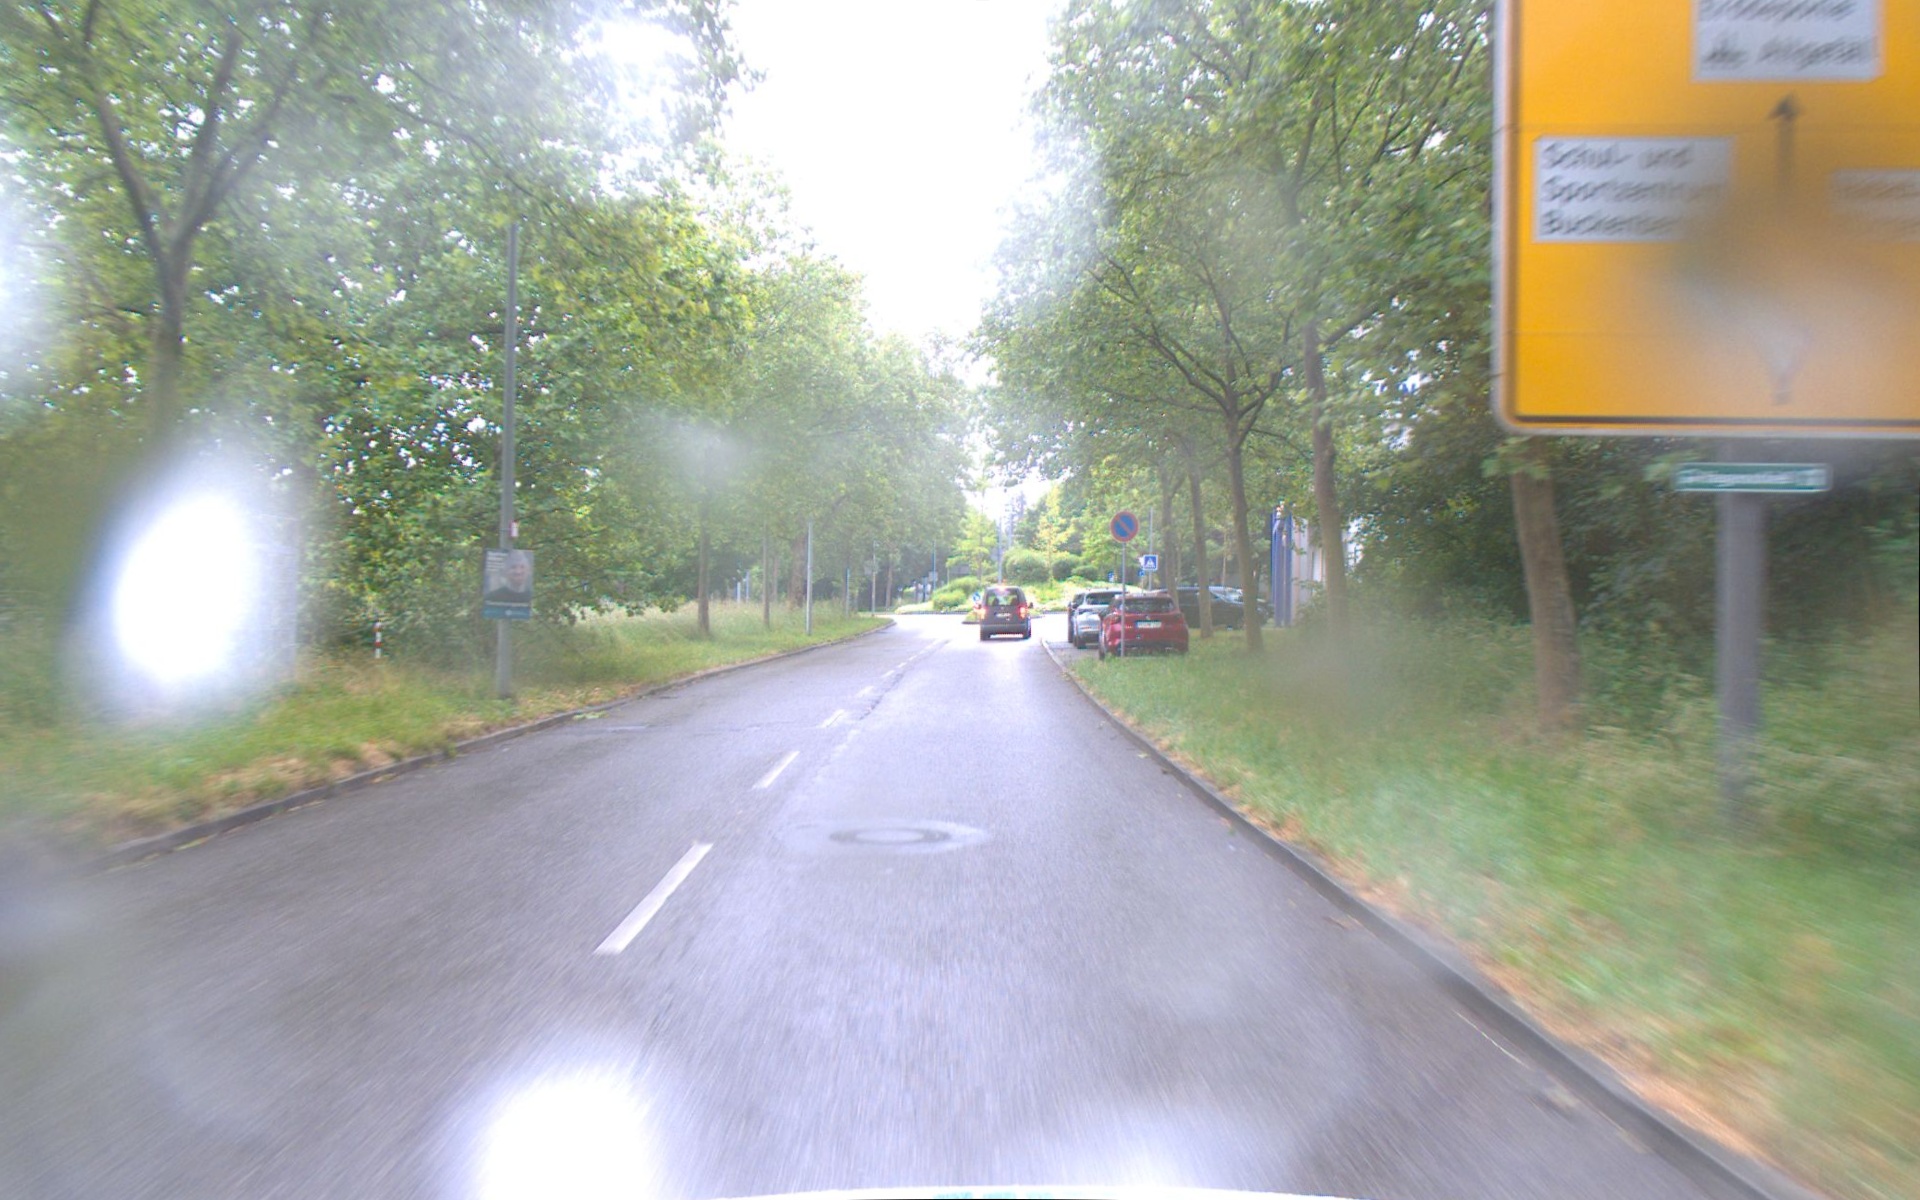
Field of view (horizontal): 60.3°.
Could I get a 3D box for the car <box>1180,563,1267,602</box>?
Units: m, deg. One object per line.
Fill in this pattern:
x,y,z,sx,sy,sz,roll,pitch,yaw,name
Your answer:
13.467,-0.914,84.725,4.284,1.789,1.831,2,2,8,car

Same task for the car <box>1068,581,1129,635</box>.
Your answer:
4.382,0.234,52.890,1.763,1.630,4.373,-1,0,3,car

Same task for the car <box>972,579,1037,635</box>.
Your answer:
1.640,0.216,59.370,1.878,1.832,3.793,-3,0,7,car

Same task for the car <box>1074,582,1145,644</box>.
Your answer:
4.123,0.347,46.142,1.692,1.619,4.254,-2,0,2,car

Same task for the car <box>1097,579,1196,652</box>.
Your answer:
3.880,0.309,34.836,1.760,1.396,3.745,-1,0,2,car

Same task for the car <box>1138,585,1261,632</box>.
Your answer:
8.805,0.301,61.115,4.376,1.709,1.768,0,1,4,car
